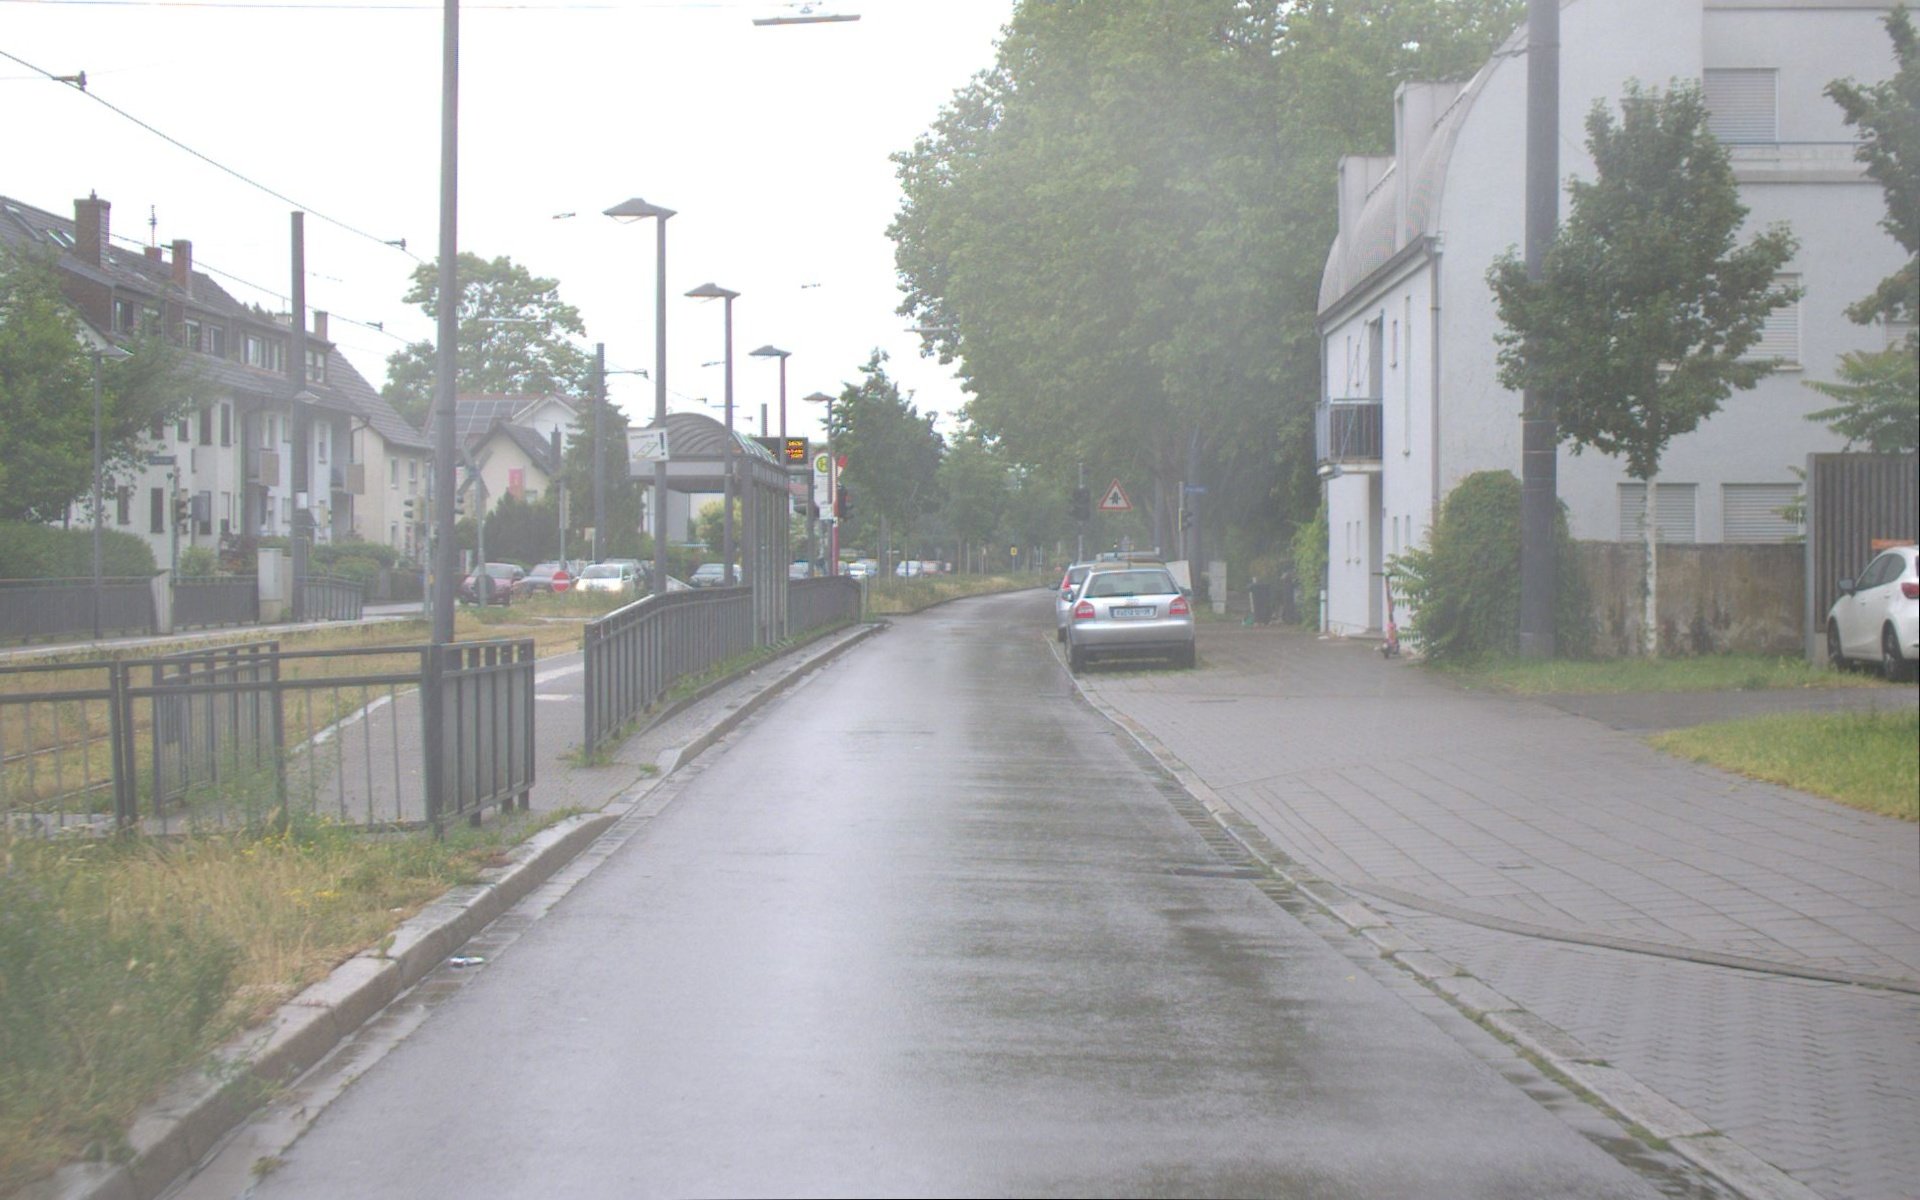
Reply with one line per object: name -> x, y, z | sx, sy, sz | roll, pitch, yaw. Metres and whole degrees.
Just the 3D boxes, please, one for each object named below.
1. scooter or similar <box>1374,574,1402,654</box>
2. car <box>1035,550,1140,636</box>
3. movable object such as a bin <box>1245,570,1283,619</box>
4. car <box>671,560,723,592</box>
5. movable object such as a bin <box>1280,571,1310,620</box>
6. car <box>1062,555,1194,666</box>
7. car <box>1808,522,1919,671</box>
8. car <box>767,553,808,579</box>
scooter or similar -> 5.880, 0.189, 47.272 | 0.333, 1.081, 1.395 | 1, 0, 6
car -> 2.355, -0.128, 64.313 | 1.807, 1.462, 3.794 | -3, 0, 1
movable object such as a bin -> 6.530, -0.120, 73.864 | 0.692, 1.018, 0.824 | -2, 0, 0
car -> -12.759, -1.141, 167.183 | 1.928, 1.481, 3.999 | 1, 0, 4
movable object such as a bin -> 7.128, -0.104, 73.163 | 0.536, 1.018, 0.739 | -2, 0, 0
car -> 2.330, 0.145, 48.534 | 1.650, 1.400, 4.649 | -3, 0, 1
car -> 10.788, -0.066, 37.799 | 1.963, 1.529, 4.363 | 1, 1, 2
car -> -10.141, -1.999, 201.981 | 1.928, 1.481, 3.999 | 1, 0, 4
